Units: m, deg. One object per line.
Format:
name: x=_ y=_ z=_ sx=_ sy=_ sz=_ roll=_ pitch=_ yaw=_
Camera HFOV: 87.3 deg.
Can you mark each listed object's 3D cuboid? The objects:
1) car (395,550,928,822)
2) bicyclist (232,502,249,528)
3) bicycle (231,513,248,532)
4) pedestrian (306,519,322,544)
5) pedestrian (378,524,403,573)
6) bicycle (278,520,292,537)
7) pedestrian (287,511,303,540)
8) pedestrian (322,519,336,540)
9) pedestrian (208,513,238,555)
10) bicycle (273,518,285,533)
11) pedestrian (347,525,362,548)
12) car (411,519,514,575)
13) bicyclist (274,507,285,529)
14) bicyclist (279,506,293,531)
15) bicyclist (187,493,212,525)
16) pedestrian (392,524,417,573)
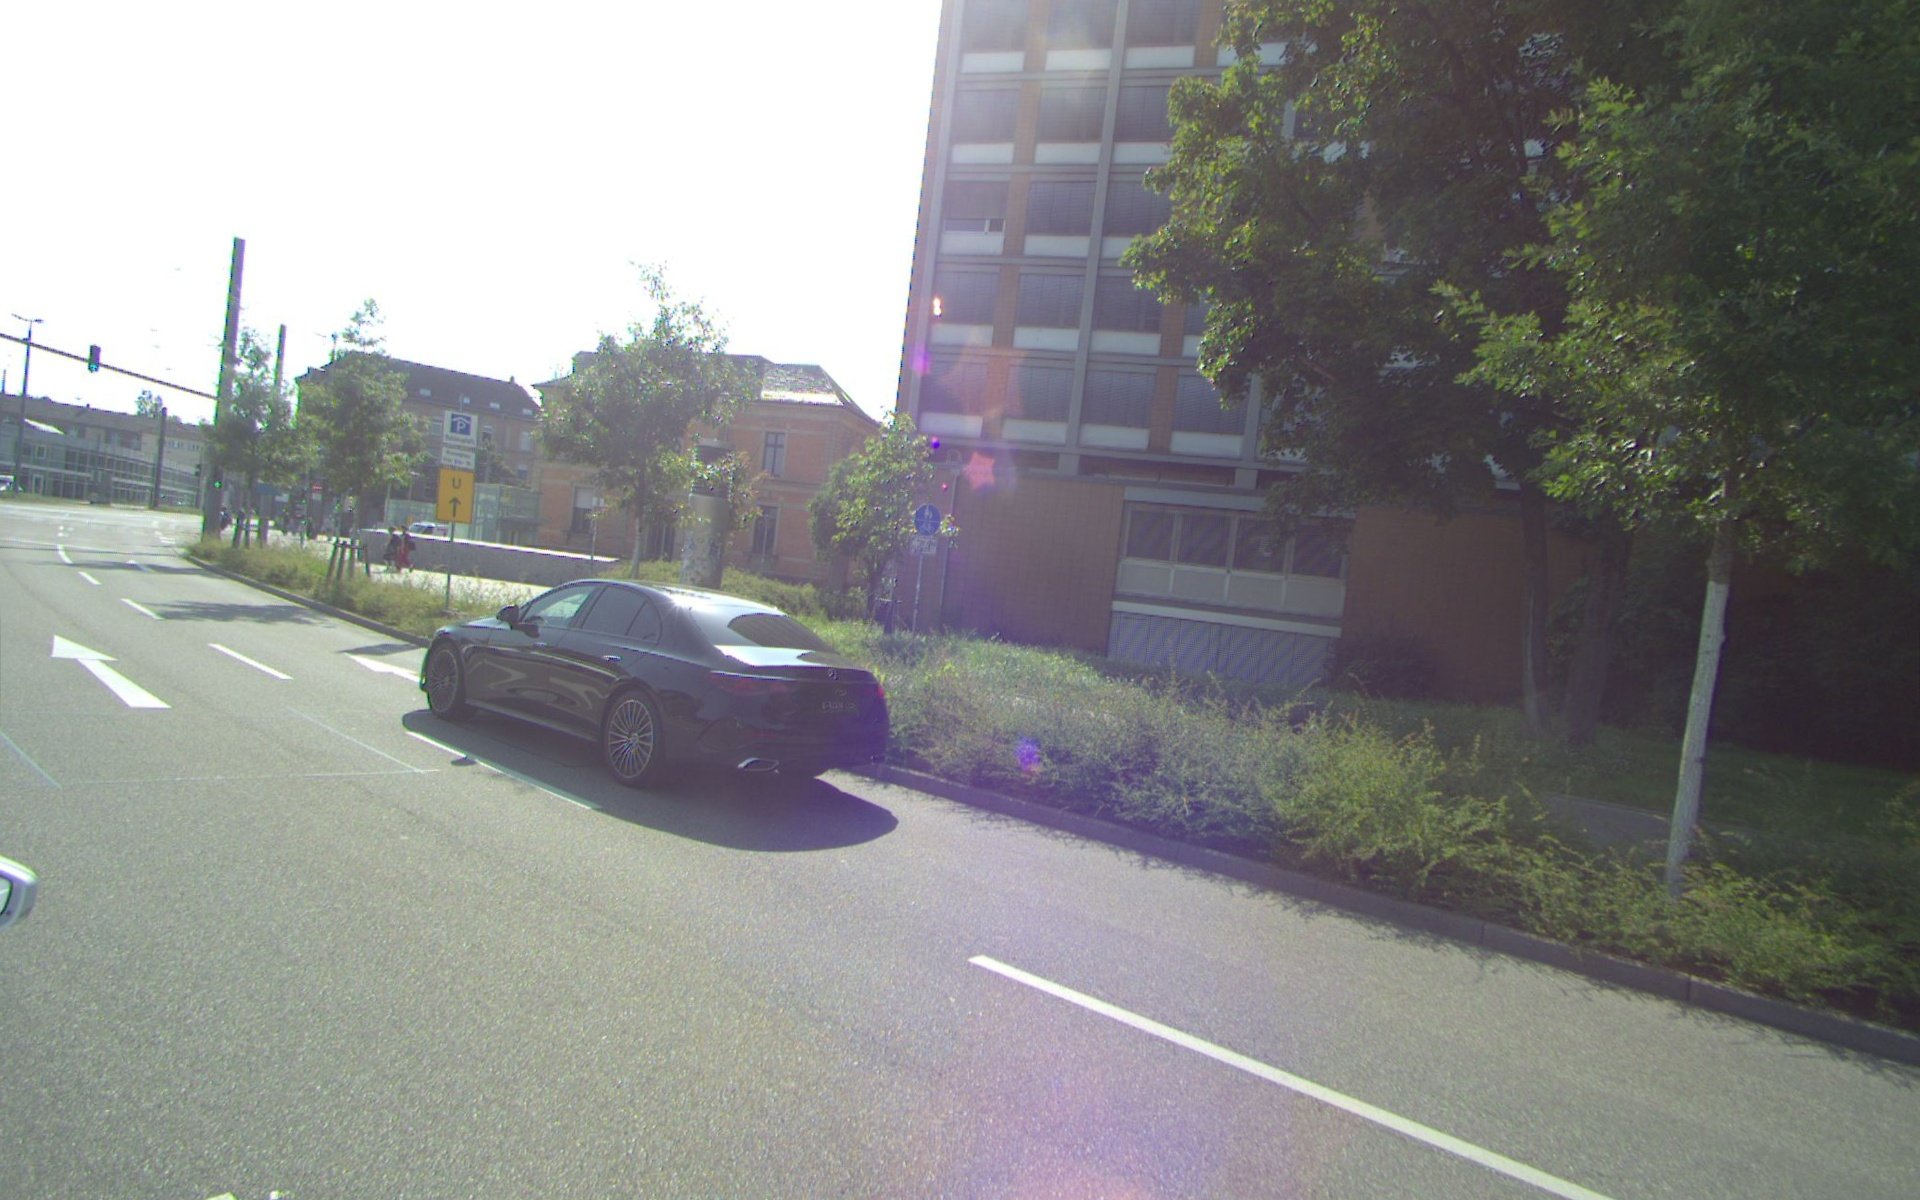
car: x=-2.768 y=0.563 z=8.656 sx=4.800 sy=1.457 sz=1.820 roll=7 pitch=-1 yaw=37
bicyclist: x=-44.506 y=-5.262 z=62.268 sx=0.708 sy=1.549 sz=0.799 roll=6 pitch=1 yaw=-34
bicycle: x=-44.539 y=-4.779 z=62.238 sx=0.701 sy=1.075 sz=1.964 roll=6 pitch=1 yaw=-34
pedestrian: x=-42.868 y=-4.536 z=66.764 sx=0.741 sy=1.549 sz=0.799 roll=6 pitch=1 yaw=-34
pedestrian: x=-20.030 y=-1.807 z=35.393 sx=0.609 sy=1.660 sz=0.530 roll=6 pitch=1 yaw=-28
bicycle: x=-51.753 y=-5.506 z=77.127 sx=0.741 sy=1.163 sz=2.840 roll=6 pitch=1 yaw=-34
pedestrian: x=-47.382 y=-5.295 z=71.651 sx=0.799 sy=1.913 sz=0.742 roll=6 pitch=1 yaw=-34
pedestrian: x=-45.023 y=-5.016 z=71.786 sx=0.653 sy=1.378 sz=0.653 roll=7 pitch=3 yaw=-30
pedestrian: x=-26.206 y=-2.342 z=35.783 sx=0.624 sy=1.379 sz=0.635 roll=8 pitch=1 yaw=39
bicycle: x=-62.038 y=-6.803 z=91.632 sx=0.734 sy=1.233 sz=2.225 roll=6 pitch=1 yaw=-34
pedestrian: x=-38.389 y=-4.038 z=63.794 sx=0.653 sy=1.378 sz=0.653 roll=7 pitch=3 yaw=-30
car: x=-23.434 y=-2.453 z=47.539 sx=1.722 sy=2.039 sz=3.997 roll=10 pitch=1 yaw=23
bicyclist: x=-61.956 y=-7.457 z=91.596 sx=0.741 sy=1.852 sz=0.799 roll=6 pitch=1 yaw=-34
bicyclist: x=-51.654 y=-6.220 z=77.112 sx=0.741 sy=1.808 sz=1.103 roll=6 pitch=1 yaw=-34
bicyclist: x=-40.362 y=-4.827 z=53.392 sx=0.977 sy=1.598 sz=0.771 roll=7 pitch=1 yaw=41
pedestrian: x=-19.894 y=-1.847 z=36.028 sx=0.609 sy=1.649 sz=0.530 roll=6 pitch=1 yaw=-27
